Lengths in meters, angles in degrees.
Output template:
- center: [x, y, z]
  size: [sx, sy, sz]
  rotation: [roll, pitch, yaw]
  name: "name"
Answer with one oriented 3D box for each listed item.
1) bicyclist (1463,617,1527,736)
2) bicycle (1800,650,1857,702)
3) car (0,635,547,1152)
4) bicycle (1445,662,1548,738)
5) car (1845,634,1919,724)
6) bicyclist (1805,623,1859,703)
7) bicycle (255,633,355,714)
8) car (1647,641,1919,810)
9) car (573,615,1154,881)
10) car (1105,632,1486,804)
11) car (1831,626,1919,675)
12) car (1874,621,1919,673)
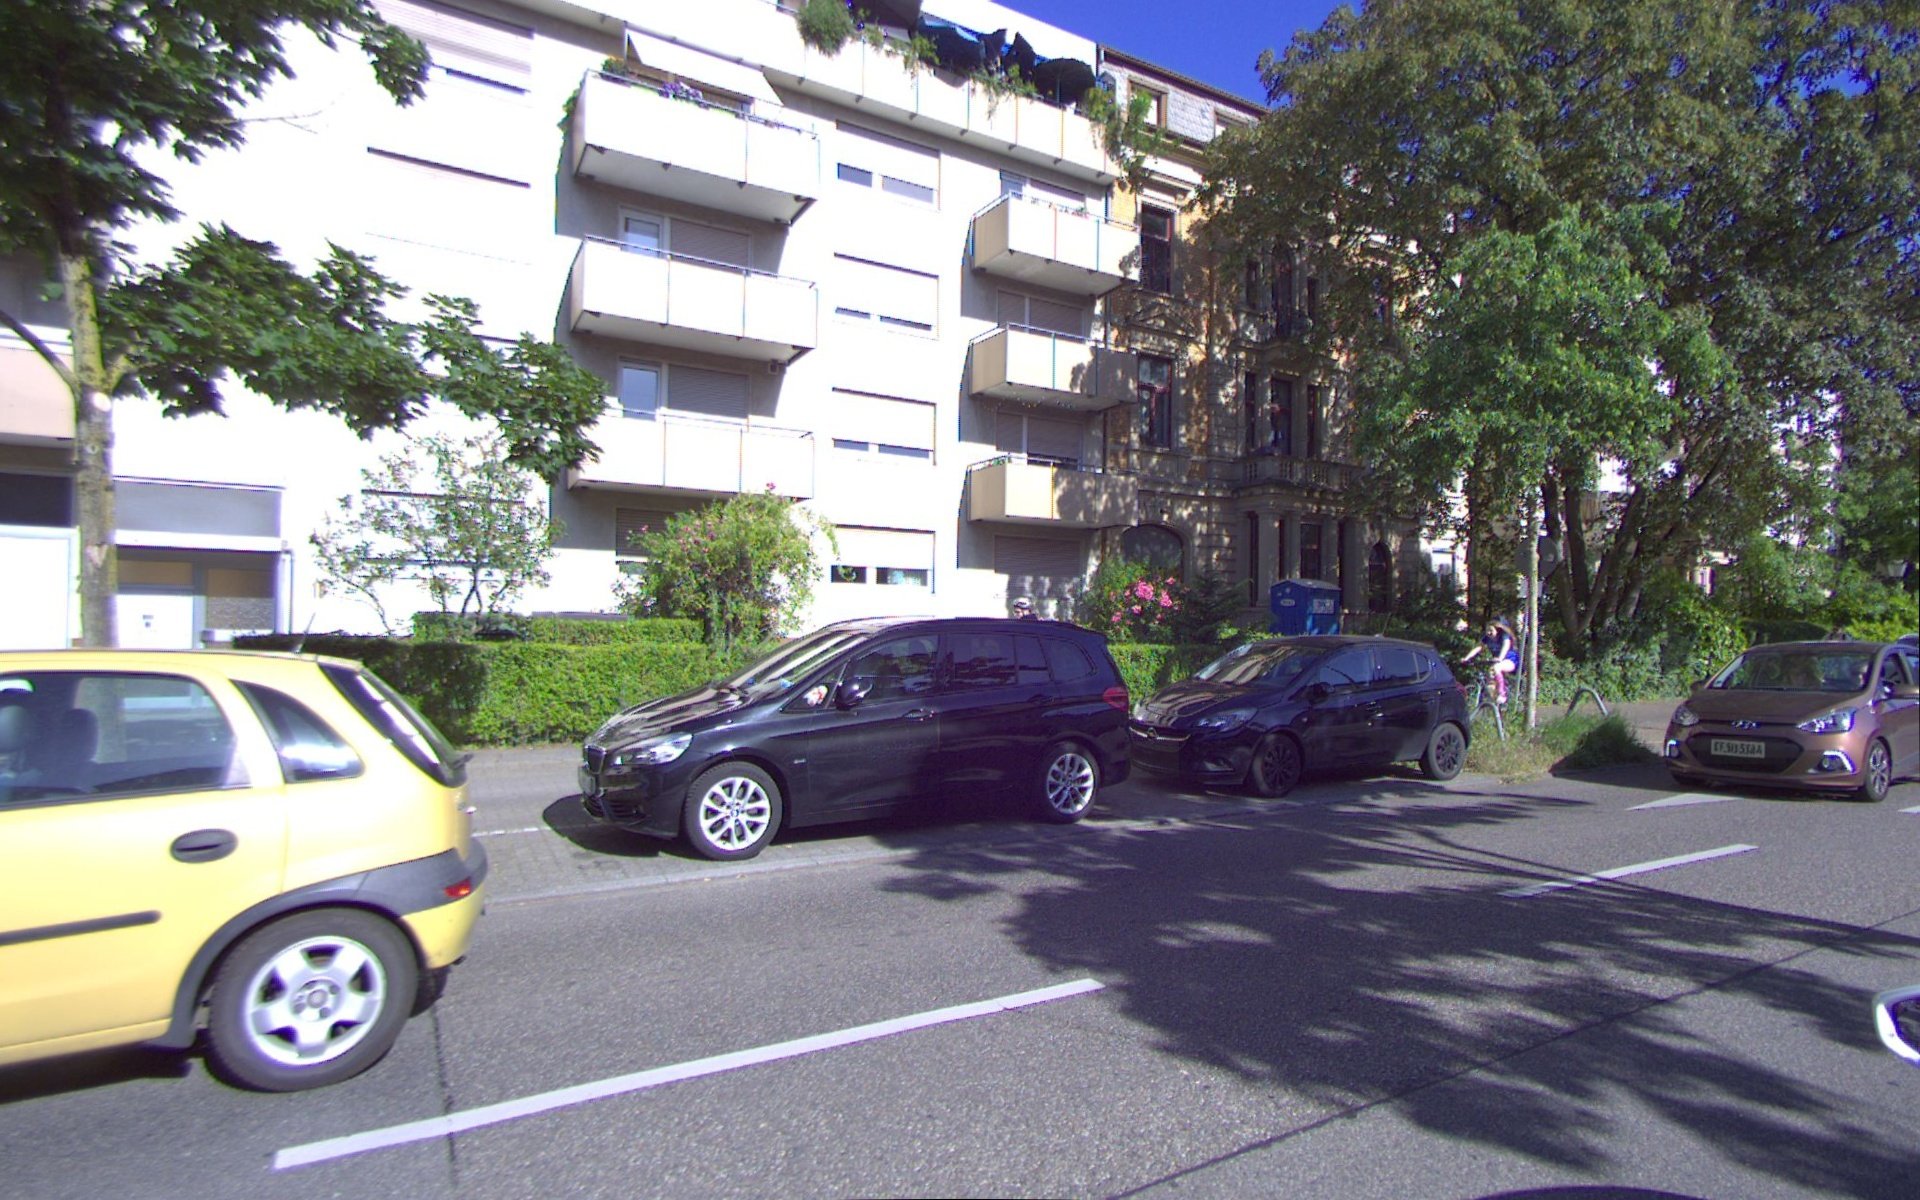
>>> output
- center: [8.246, 1.163, 15.481]
  size: [0.683, 1.777, 0.606]
  rotation: [1, -2, -30]
  name: "bicyclist"
- center: [19.963, 1.726, 23.081]
  size: [1.744, 1.131, 0.446]
  rotation: [1, 0, -31]
  name: "bicycle"
- center: [-3.446, 0.844, 3.256]
  size: [3.694, 1.421, 1.626]
  rotation: [2, -4, -32]
  name: "car"
- center: [8.296, 1.523, 15.515]
  size: [1.723, 1.087, 0.606]
  rotation: [1, -2, -30]
  name: "bicycle"
- center: [19.194, 1.497, 19.637]
  size: [4.298, 1.609, 1.616]
  rotation: [1, 0, -31]
  name: "car"
- center: [20.082, 1.434, 23.134]
  size: [1.194, 1.790, 0.579]
  rotation: [1, 0, -31]
  name: "bicyclist"
- center: [-9.564, 1.043, 14.730]
  size: [0.494, 1.075, 1.559]
  rotation: [0, 0, -3]
  name: "bicycle"
- center: [8.959, 1.181, 10.462]
  size: [3.702, 1.470, 1.573]
  rotation: [1, -4, -31]
  name: "car"
- center: [-0.650, 0.969, 8.031]
  size: [4.344, 1.626, 1.662]
  rotation: [2, -1, -31]
  name: "car"
- center: [3.573, 1.114, 10.555]
  size: [3.883, 1.496, 1.595]
  rotation: [1, -1, -29]
  name: "car"
- center: [33.977, 1.820, 36.112]
  size: [3.857, 1.666, 1.674]
  rotation: [0, -1, 36]
  name: "car"
- center: [36.826, 1.740, 37.152]
  size: [4.257, 1.904, 1.873]
  rotation: [0, -1, 35]
  name: "car"
